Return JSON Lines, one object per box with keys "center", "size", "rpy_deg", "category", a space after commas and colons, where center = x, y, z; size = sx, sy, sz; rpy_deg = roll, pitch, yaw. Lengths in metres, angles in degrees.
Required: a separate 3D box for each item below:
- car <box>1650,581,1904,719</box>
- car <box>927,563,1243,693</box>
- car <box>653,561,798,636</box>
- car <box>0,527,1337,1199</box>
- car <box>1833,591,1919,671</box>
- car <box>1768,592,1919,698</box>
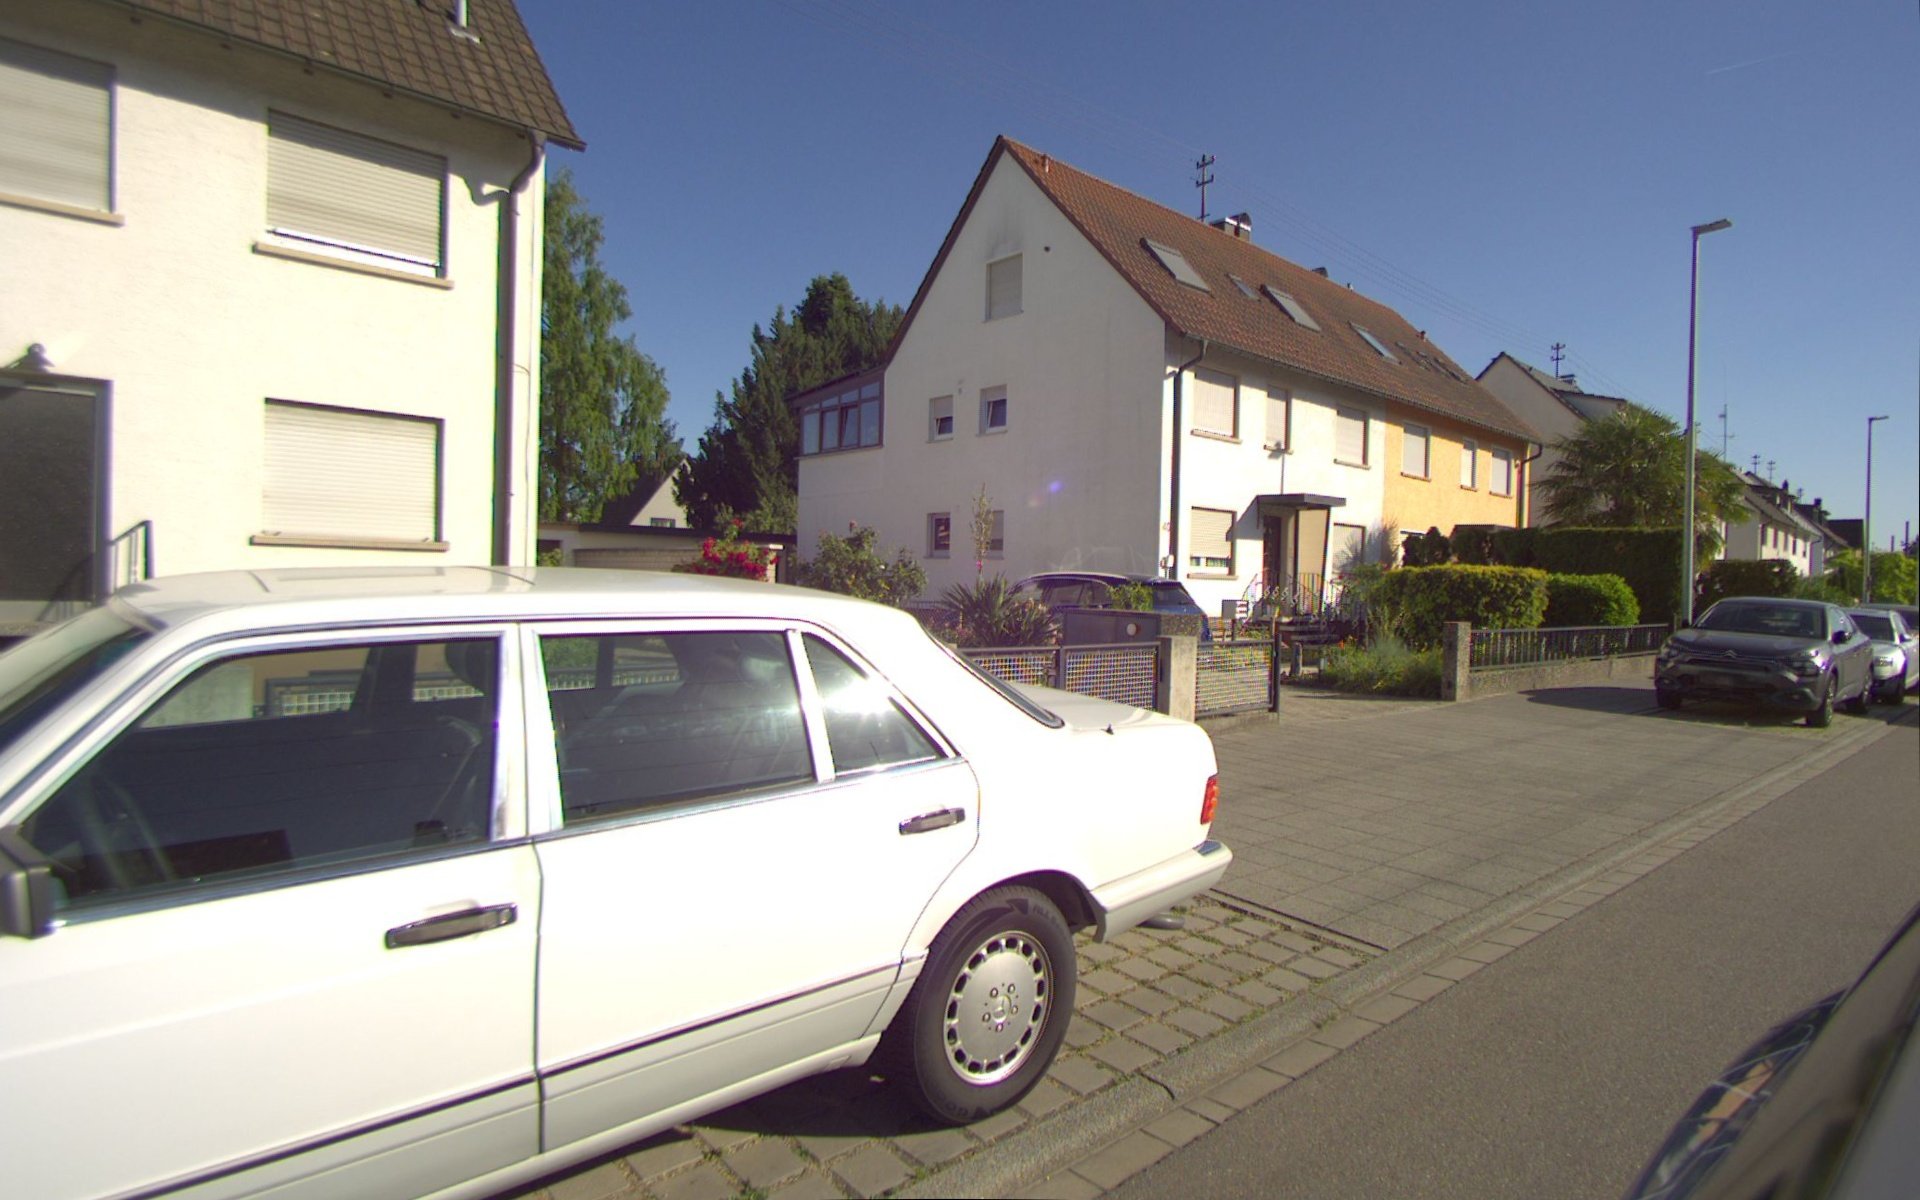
{"center": [11.049, 0.558, 13.558], "size": [4.644, 1.517, 1.781], "rpy_deg": [0, 2, -40], "category": "car"}
{"center": [1.761, 0.302, 15.371], "size": [2.160, 1.675, 4.419], "rpy_deg": [0, 1, -43], "category": "car"}
{"center": [-5.662, -0.089, 24.188], "size": [1.782, 1.639, 3.820], "rpy_deg": [0, 2, -41], "category": "car"}
{"center": [-1.393, 0.597, 2.571], "size": [5.513, 1.461, 1.857], "rpy_deg": [0, 3, -40], "category": "car"}
{"center": [21.095, 0.622, 22.570], "size": [4.841, 1.578, 1.809], "rpy_deg": [0, 3, -42], "category": "car"}
{"center": [15.092, 0.691, 16.880], "size": [4.617, 1.465, 1.751], "rpy_deg": [1, 1, -42], "category": "car"}
